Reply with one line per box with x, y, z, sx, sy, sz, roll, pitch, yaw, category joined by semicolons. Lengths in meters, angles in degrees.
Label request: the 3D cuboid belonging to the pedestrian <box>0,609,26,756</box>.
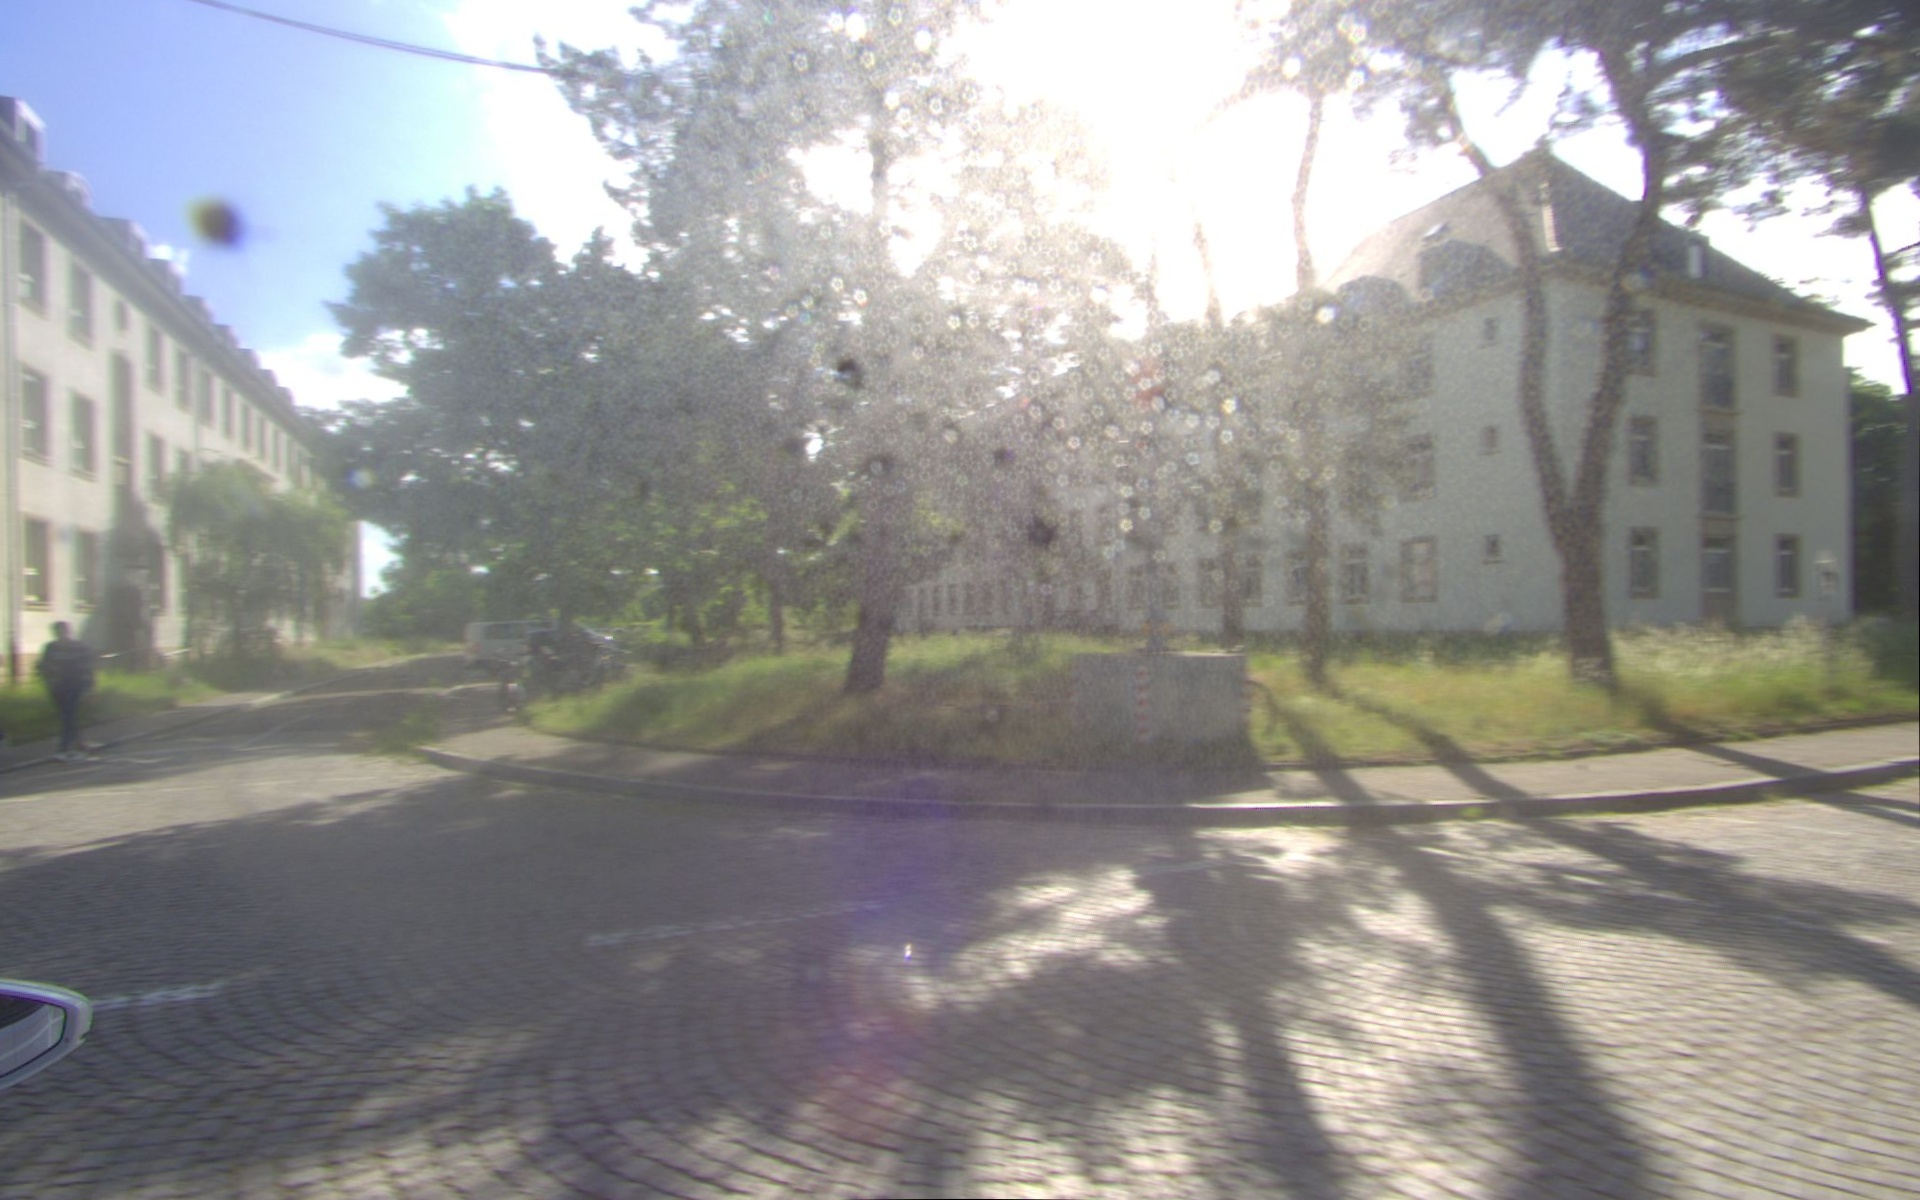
-12.449;1.040;12.626;0.799;1.841;0.554;0;0;-13;pedestrian

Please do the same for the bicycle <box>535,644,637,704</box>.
-7.746;1.515;20.755;1.917;1.144;0.747;0;-1;-27;bicycle

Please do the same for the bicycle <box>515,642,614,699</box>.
-8.542;1.501;21.707;0.640;1.144;1.933;-1;-1;39;bicycle

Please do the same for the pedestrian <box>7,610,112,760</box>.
-11.469;1.056;12.774;0.755;1.841;0.681;0;0;-13;pedestrian

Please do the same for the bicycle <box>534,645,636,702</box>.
-7.480;1.450;20.000;1.832;1.044;0.747;0;-1;-27;bicycle

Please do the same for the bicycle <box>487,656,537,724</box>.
-7.291;1.425;16.268;0.687;0.984;1.853;0;-2;-26;bicycle

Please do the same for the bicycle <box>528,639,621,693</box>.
-8.775;1.487;22.818;1.919;1.144;0.644;0;-1;-30;bicycle

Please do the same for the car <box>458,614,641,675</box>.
-14.892;1.562;36.429;5.867;2.039;2.462;0;-1;-31;car

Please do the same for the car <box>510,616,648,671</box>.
-12.478;1.386;32.837;3.945;1.705;1.837;0;-1;-32;car

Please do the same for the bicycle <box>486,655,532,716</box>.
-8.134;1.511;18.027;0.687;0.984;1.853;0;-2;-26;bicycle

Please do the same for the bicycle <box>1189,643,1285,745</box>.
3.172;1.048;11.546;0.459;1.094;1.171;0;-1;-20;bicycle

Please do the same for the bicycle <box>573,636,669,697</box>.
-7.333;1.423;21.701;1.917;1.251;0.483;0;-1;-27;bicycle
